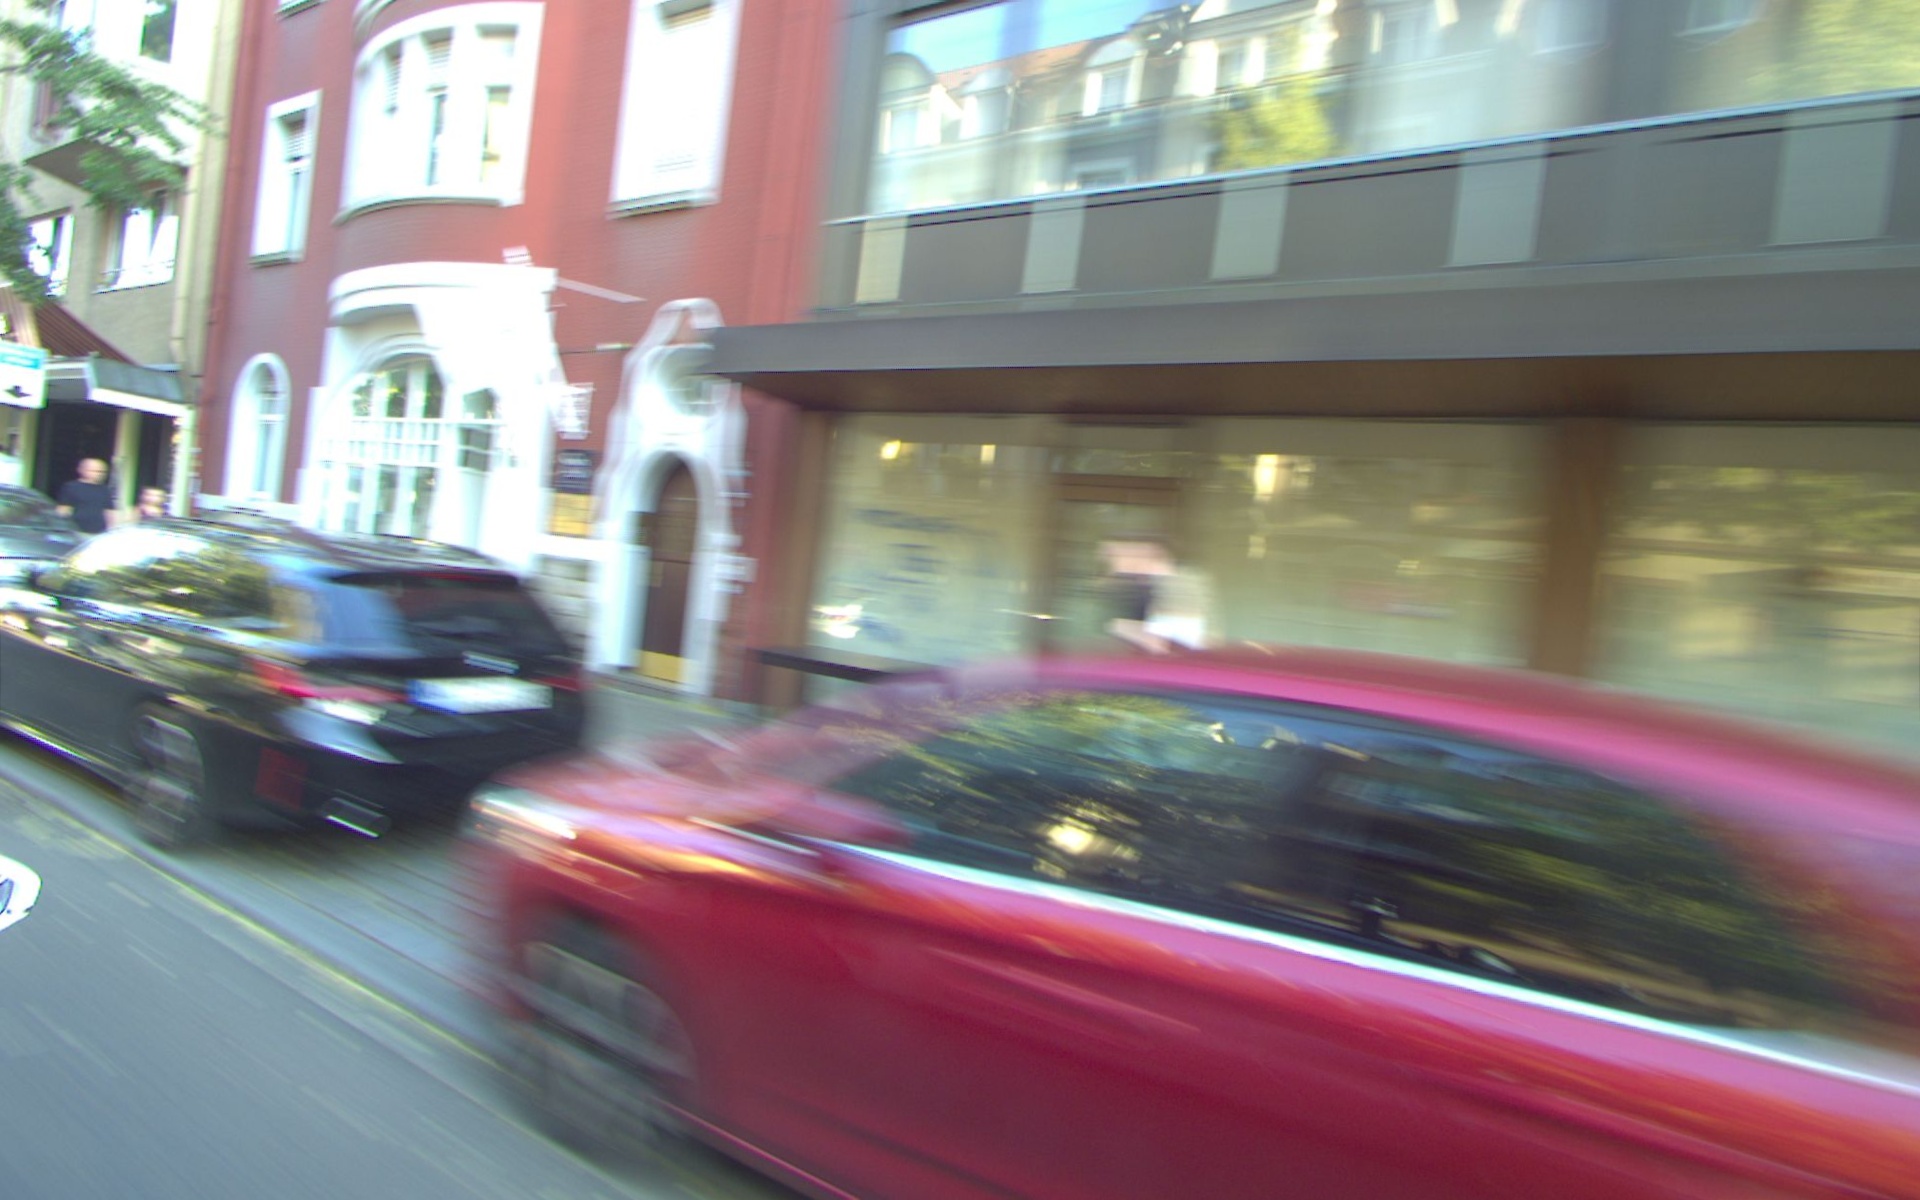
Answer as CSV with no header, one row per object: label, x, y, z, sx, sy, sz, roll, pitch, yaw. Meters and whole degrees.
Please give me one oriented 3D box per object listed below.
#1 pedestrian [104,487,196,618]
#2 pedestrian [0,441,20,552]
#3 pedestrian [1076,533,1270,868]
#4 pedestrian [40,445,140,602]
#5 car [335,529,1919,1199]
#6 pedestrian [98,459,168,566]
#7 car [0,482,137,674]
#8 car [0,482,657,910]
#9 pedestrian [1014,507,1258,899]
pedestrian,-9.933,-0.578,12.341,0.630,1.508,0.624,7,2,32
pedestrian,-17.185,-1.869,17.681,0.795,1.908,0.867,6,3,-40
pedestrian,1.285,0.561,6.076,0.822,1.834,0.589,7,3,32
pedestrian,-10.015,-0.873,11.578,0.630,1.699,0.624,7,2,32
car,0.577,0.812,2.583,4.673,1.513,1.723,7,2,31
pedestrian,-15.947,-1.693,19.403,0.865,1.908,0.797,10,3,41
car,-9.508,-0.405,9.128,4.919,1.459,1.774,7,2,34
car,-3.962,0.247,5.700,4.344,1.490,1.775,7,2,31
pedestrian,0.951,0.499,5.453,0.960,1.893,0.625,7,3,32
